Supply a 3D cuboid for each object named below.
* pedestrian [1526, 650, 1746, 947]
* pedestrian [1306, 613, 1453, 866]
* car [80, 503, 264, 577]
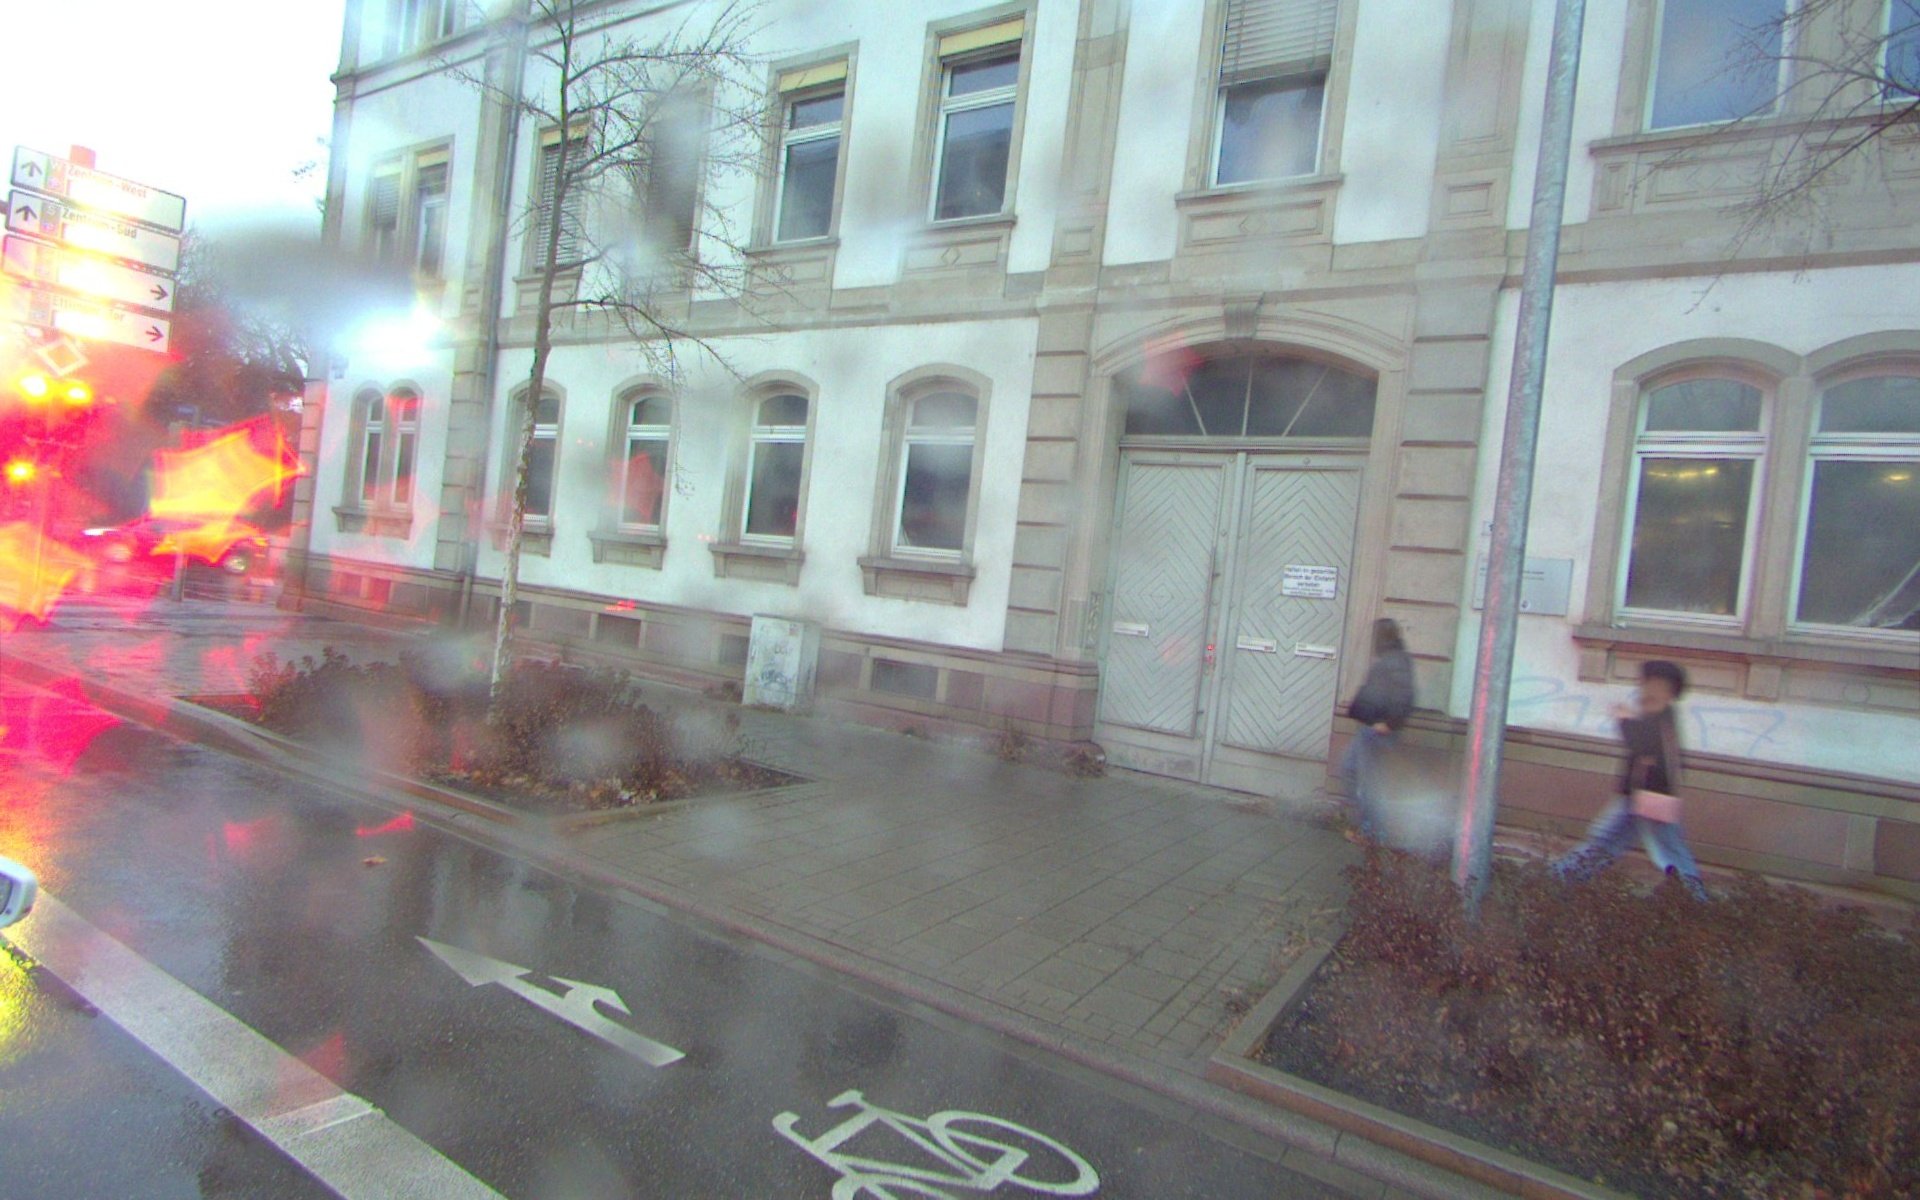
[{"bbox_3d":[4.146,1.157,6.245,0.914,1.564,0.869,7,1,32],"label":"pedestrian"},{"bbox_3d":[3.150,1.003,7.524,0.695,1.694,0.868,7,1,33],"label":"pedestrian"},{"bbox_3d":[-22.522,-1.664,28.970,3.966,1.417,1.741,9,-3,-36],"label":"car"}]
